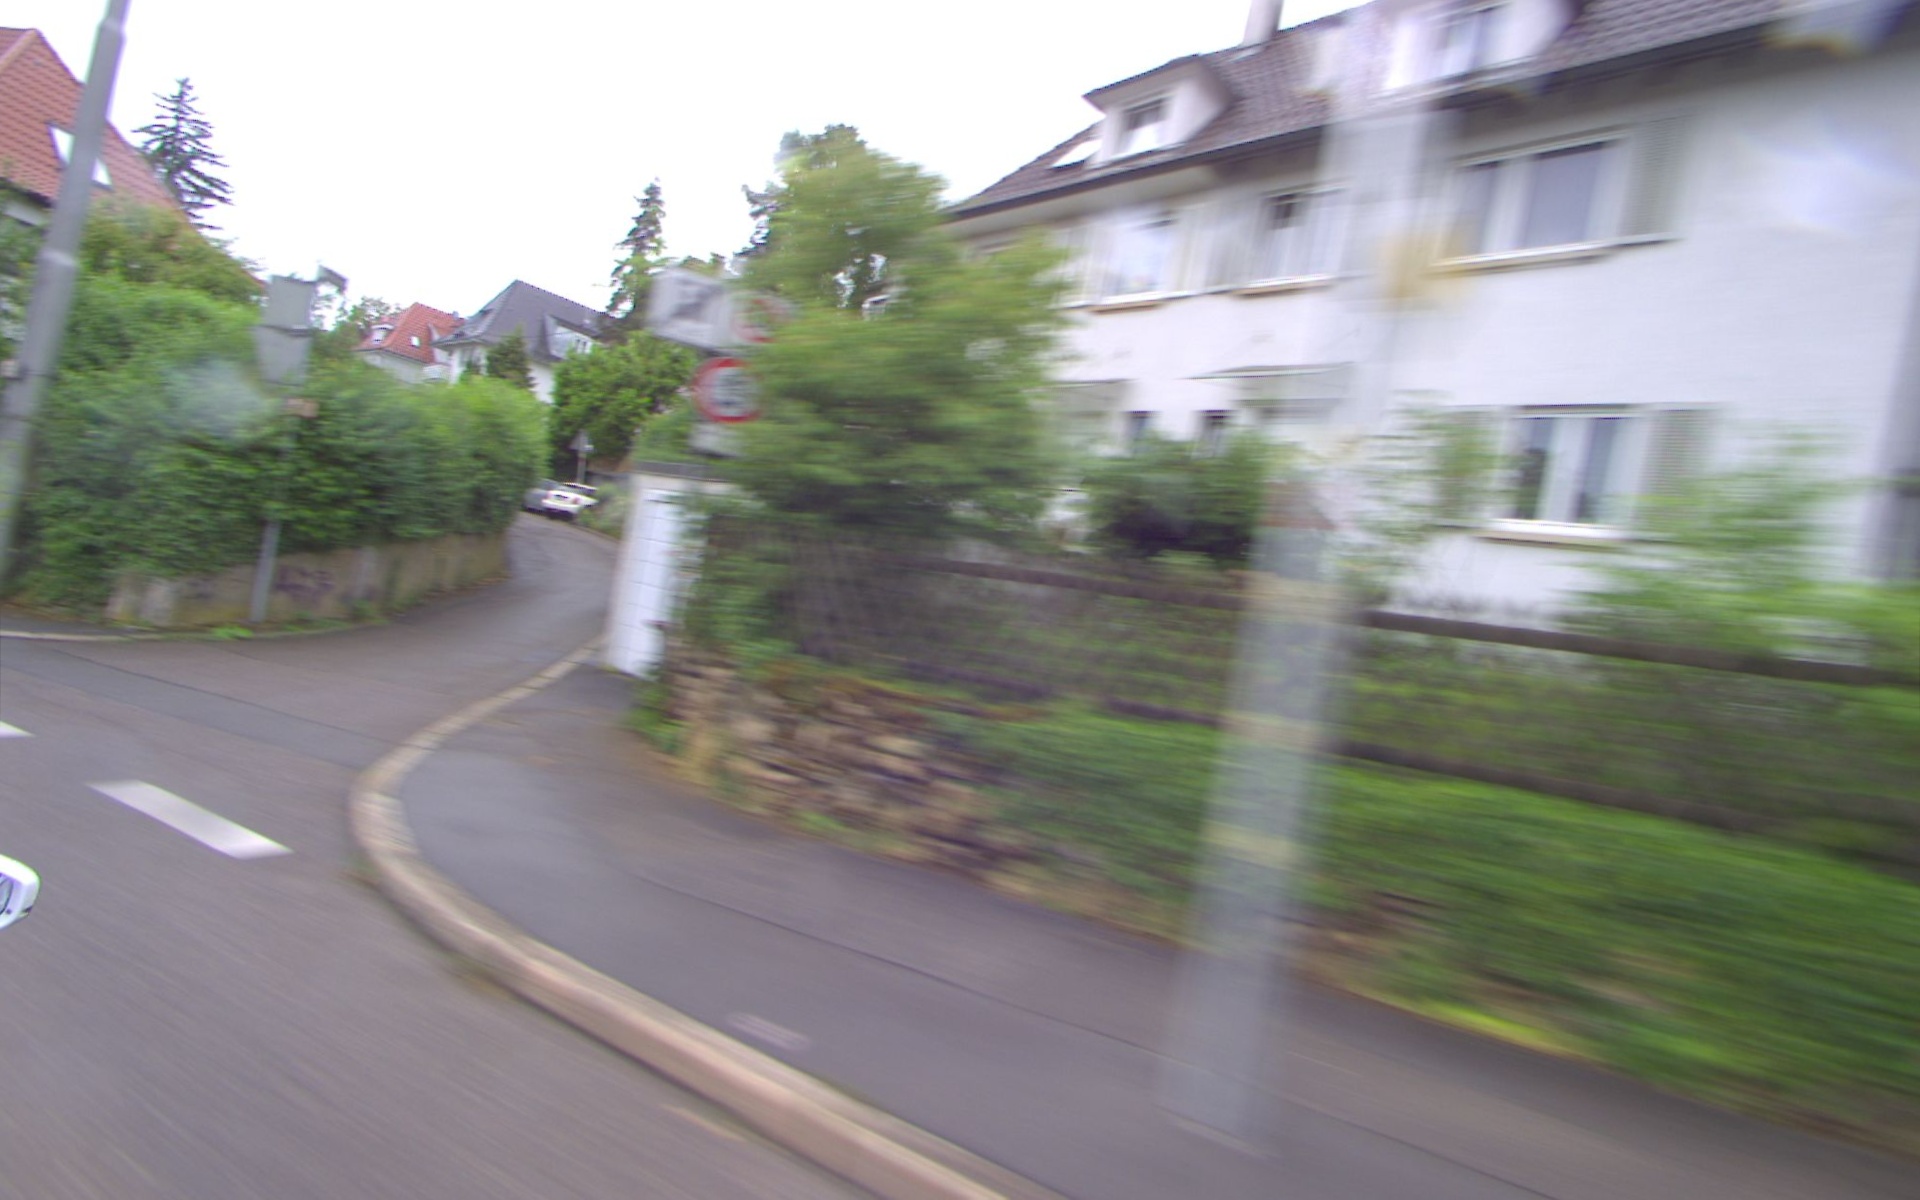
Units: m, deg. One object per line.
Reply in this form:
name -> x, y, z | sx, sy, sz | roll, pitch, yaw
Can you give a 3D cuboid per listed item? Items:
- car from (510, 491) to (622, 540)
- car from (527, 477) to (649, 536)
car -> -17.097, -3.649, 43.808 | 1.970, 1.400, 3.989 | 5, -3, 37
car -> -13.690, -3.418, 37.240 | 1.963, 1.400, 4.003 | 6, -3, 21
